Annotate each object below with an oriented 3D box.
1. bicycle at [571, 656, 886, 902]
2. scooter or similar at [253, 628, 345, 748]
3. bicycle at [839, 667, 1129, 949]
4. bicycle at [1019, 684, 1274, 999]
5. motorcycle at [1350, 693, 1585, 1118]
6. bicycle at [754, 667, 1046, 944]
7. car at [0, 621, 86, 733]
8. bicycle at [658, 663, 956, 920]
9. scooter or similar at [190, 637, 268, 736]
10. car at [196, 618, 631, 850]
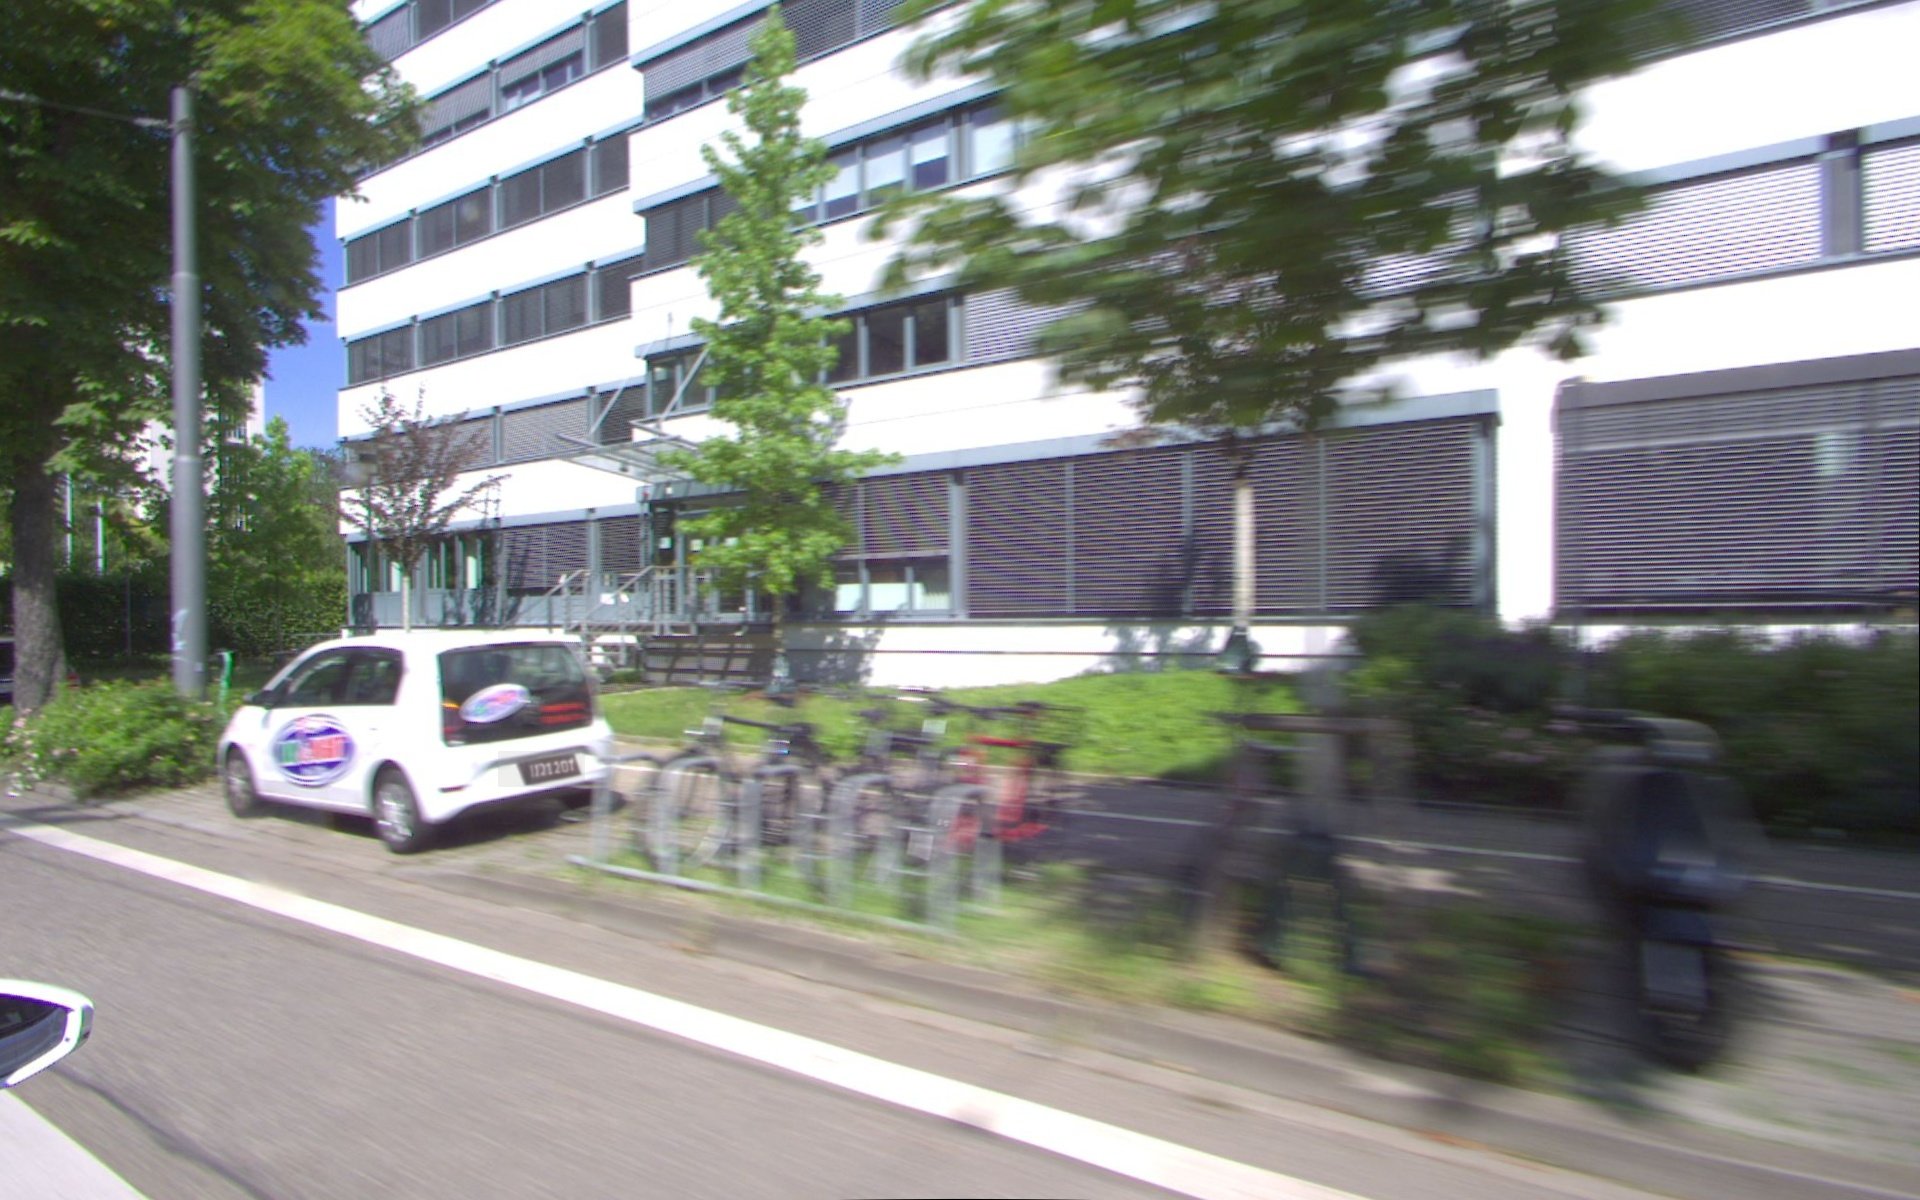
[{"bbox_3d":[-1.339,0.985,6.207,0.807,1.185,1.900,-1,-1,31],"label":"bicycle"},{"bbox_3d":[-7.628,0.987,11.546,1.141,1.318,0.471,-1,0,33],"label":"scooter or similar"},{"bbox_3d":[0.210,0.955,5.236,0.716,1.100,1.789,-1,-1,31],"label":"bicycle"},{"bbox_3d":[0.965,1.015,4.796,0.630,1.100,1.721,-1,0,31],"label":"bicycle"},{"bbox_3d":[2.001,0.981,3.845,0.649,1.100,1.721,-1,0,31],"label":"motorcycle"},{"bbox_3d":[-0.239,0.995,5.501,0.670,1.147,1.845,-1,0,31],"label":"bicycle"},{"bbox_3d":[-14.692,1.065,14.684,4.210,1.503,1.627,0,0,31],"label":"car"},{"bbox_3d":[-0.804,0.995,5.860,0.676,1.156,1.869,-1,0,31],"label":"bicycle"},{"bbox_3d":[-9.179,1.060,12.566,1.141,1.189,0.400,-1,0,33],"label":"scooter or similar"},{"bbox_3d":[-4.506,0.912,8.133,3.580,1.491,1.626,-1,-1,34],"label":"car"}]
